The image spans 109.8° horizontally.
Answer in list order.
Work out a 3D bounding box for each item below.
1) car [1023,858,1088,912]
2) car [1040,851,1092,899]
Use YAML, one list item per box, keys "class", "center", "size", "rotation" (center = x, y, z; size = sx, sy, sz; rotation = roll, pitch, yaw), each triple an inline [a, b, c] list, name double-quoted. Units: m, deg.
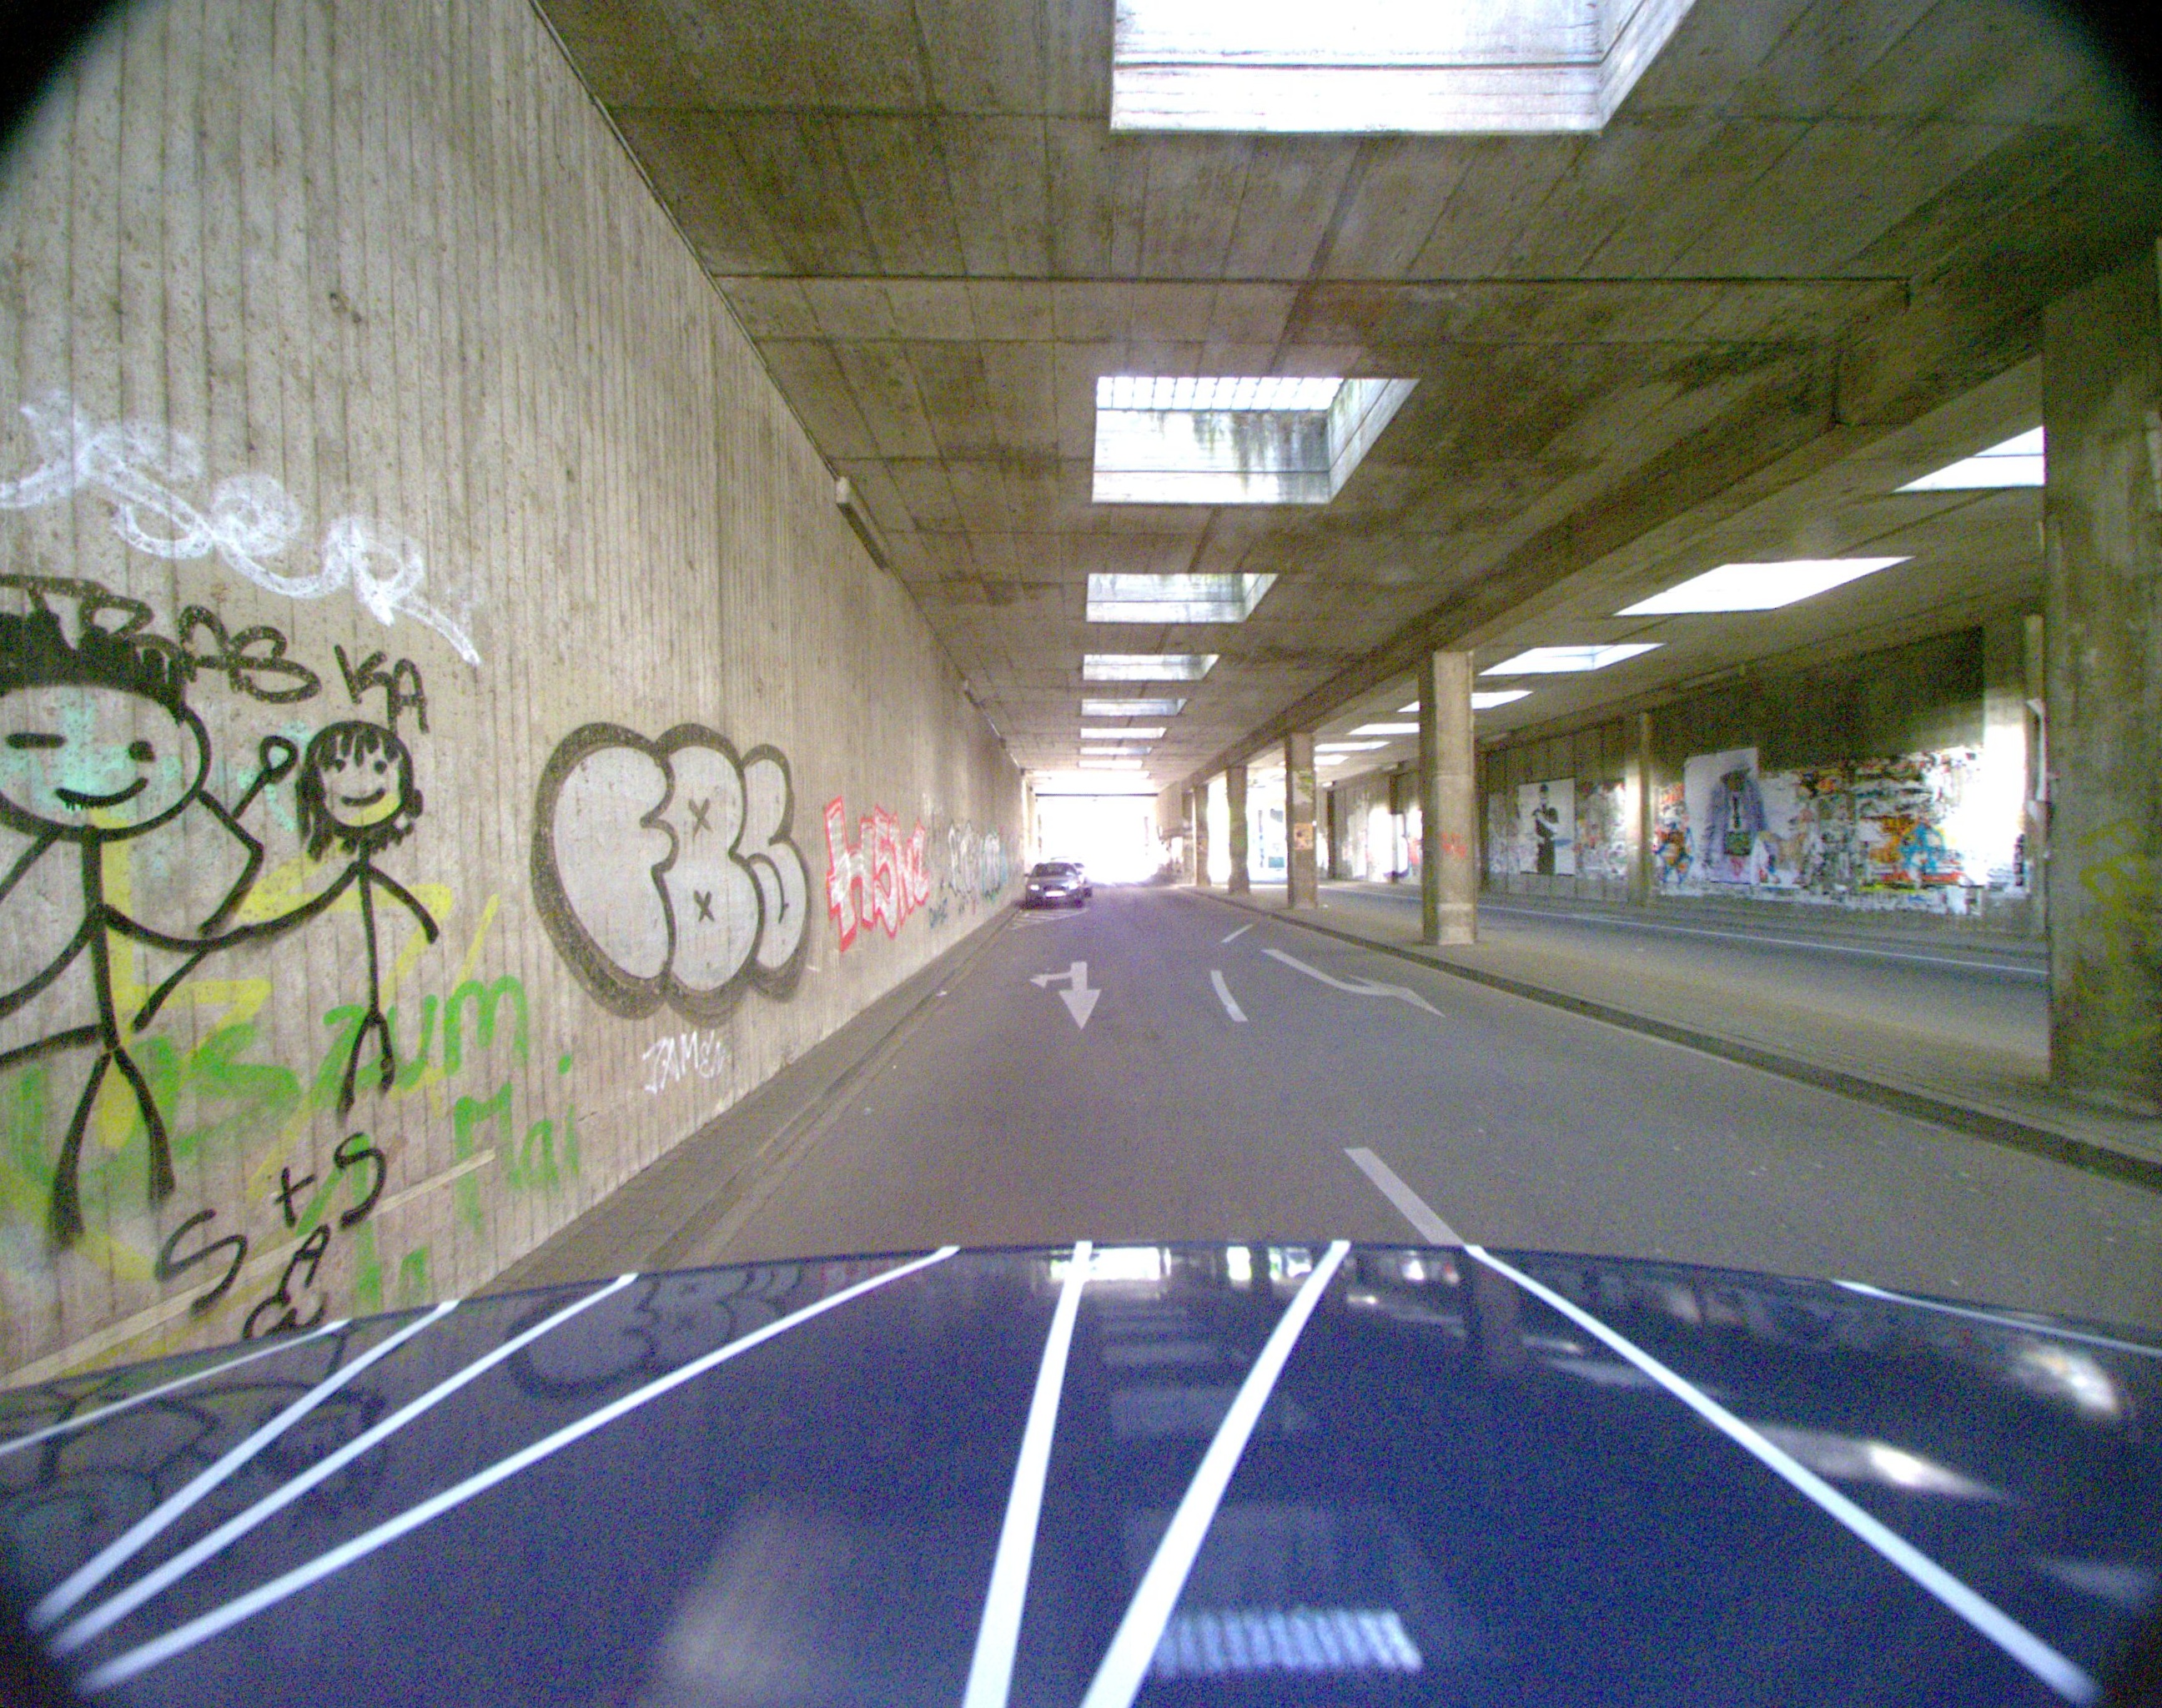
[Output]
- class: "car"
  center: [-0.716, 0.905, 24.083]
  size: [1.808, 1.460, 4.000]
  rotation: [-2, 0, 1]
- class: "car"
  center: [-0.511, 0.762, 29.829]
  size: [1.861, 1.709, 4.000]
  rotation: [-2, 0, 1]
